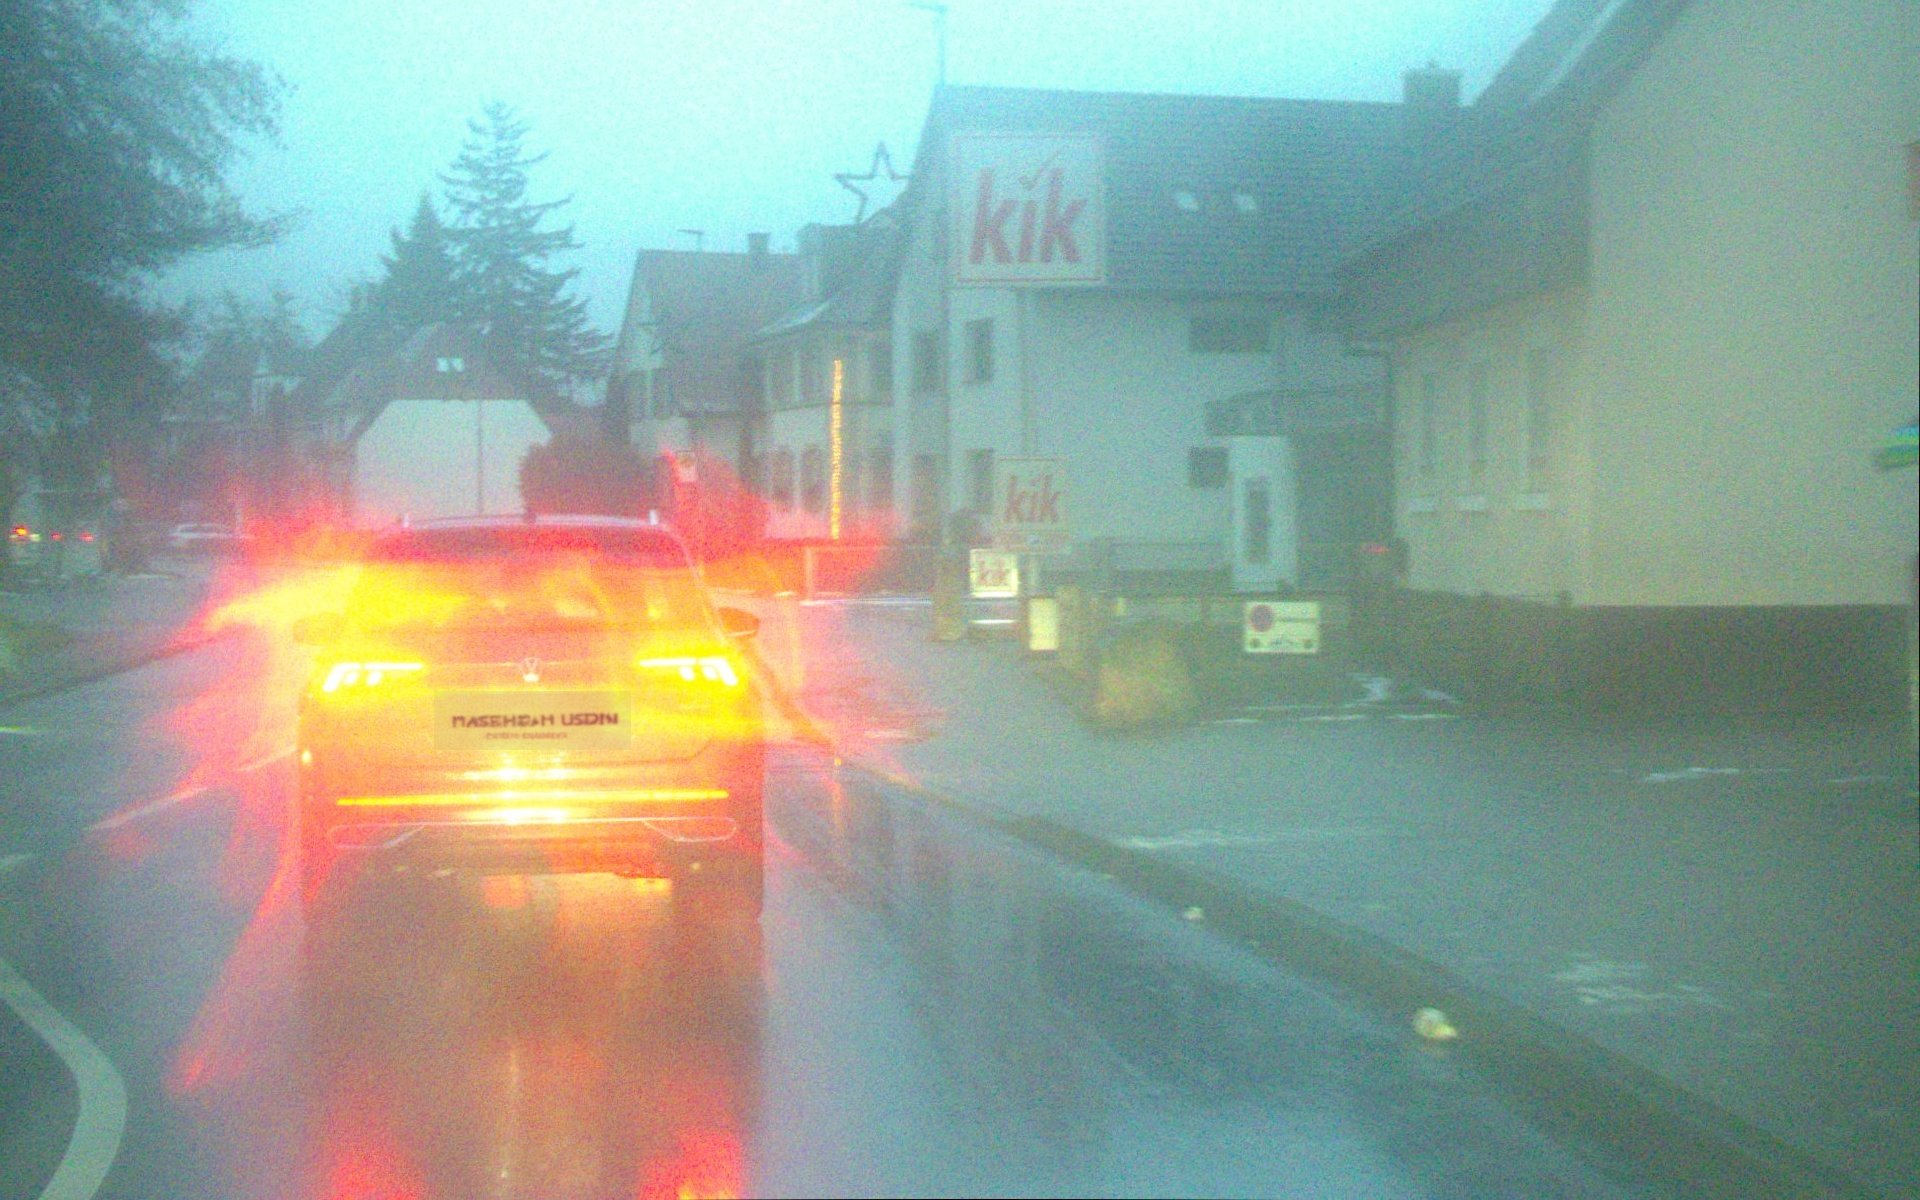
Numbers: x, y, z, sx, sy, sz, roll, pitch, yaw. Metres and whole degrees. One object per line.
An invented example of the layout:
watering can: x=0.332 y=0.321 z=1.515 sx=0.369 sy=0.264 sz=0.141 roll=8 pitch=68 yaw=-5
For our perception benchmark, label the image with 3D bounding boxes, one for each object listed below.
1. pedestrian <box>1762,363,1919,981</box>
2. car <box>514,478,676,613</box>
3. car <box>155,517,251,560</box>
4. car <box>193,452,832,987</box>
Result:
pedestrian: x=3.392 y=0.189 z=11.034 sx=1.254 sy=1.859 sz=1.303 roll=-2 pitch=1 yaw=-2
car: x=-5.514 y=-0.823 z=52.162 sx=2.309 sy=1.932 sz=5.019 roll=0 pitch=1 yaw=-6
car: x=-35.973 y=-2.933 z=163.387 sx=4.245 sy=2.007 sz=1.811 roll=-1 pitch=1 yaw=-18
car: x=-1.980 y=0.394 z=15.073 sx=2.309 sy=1.932 sz=5.019 roll=0 pitch=1 yaw=-8
